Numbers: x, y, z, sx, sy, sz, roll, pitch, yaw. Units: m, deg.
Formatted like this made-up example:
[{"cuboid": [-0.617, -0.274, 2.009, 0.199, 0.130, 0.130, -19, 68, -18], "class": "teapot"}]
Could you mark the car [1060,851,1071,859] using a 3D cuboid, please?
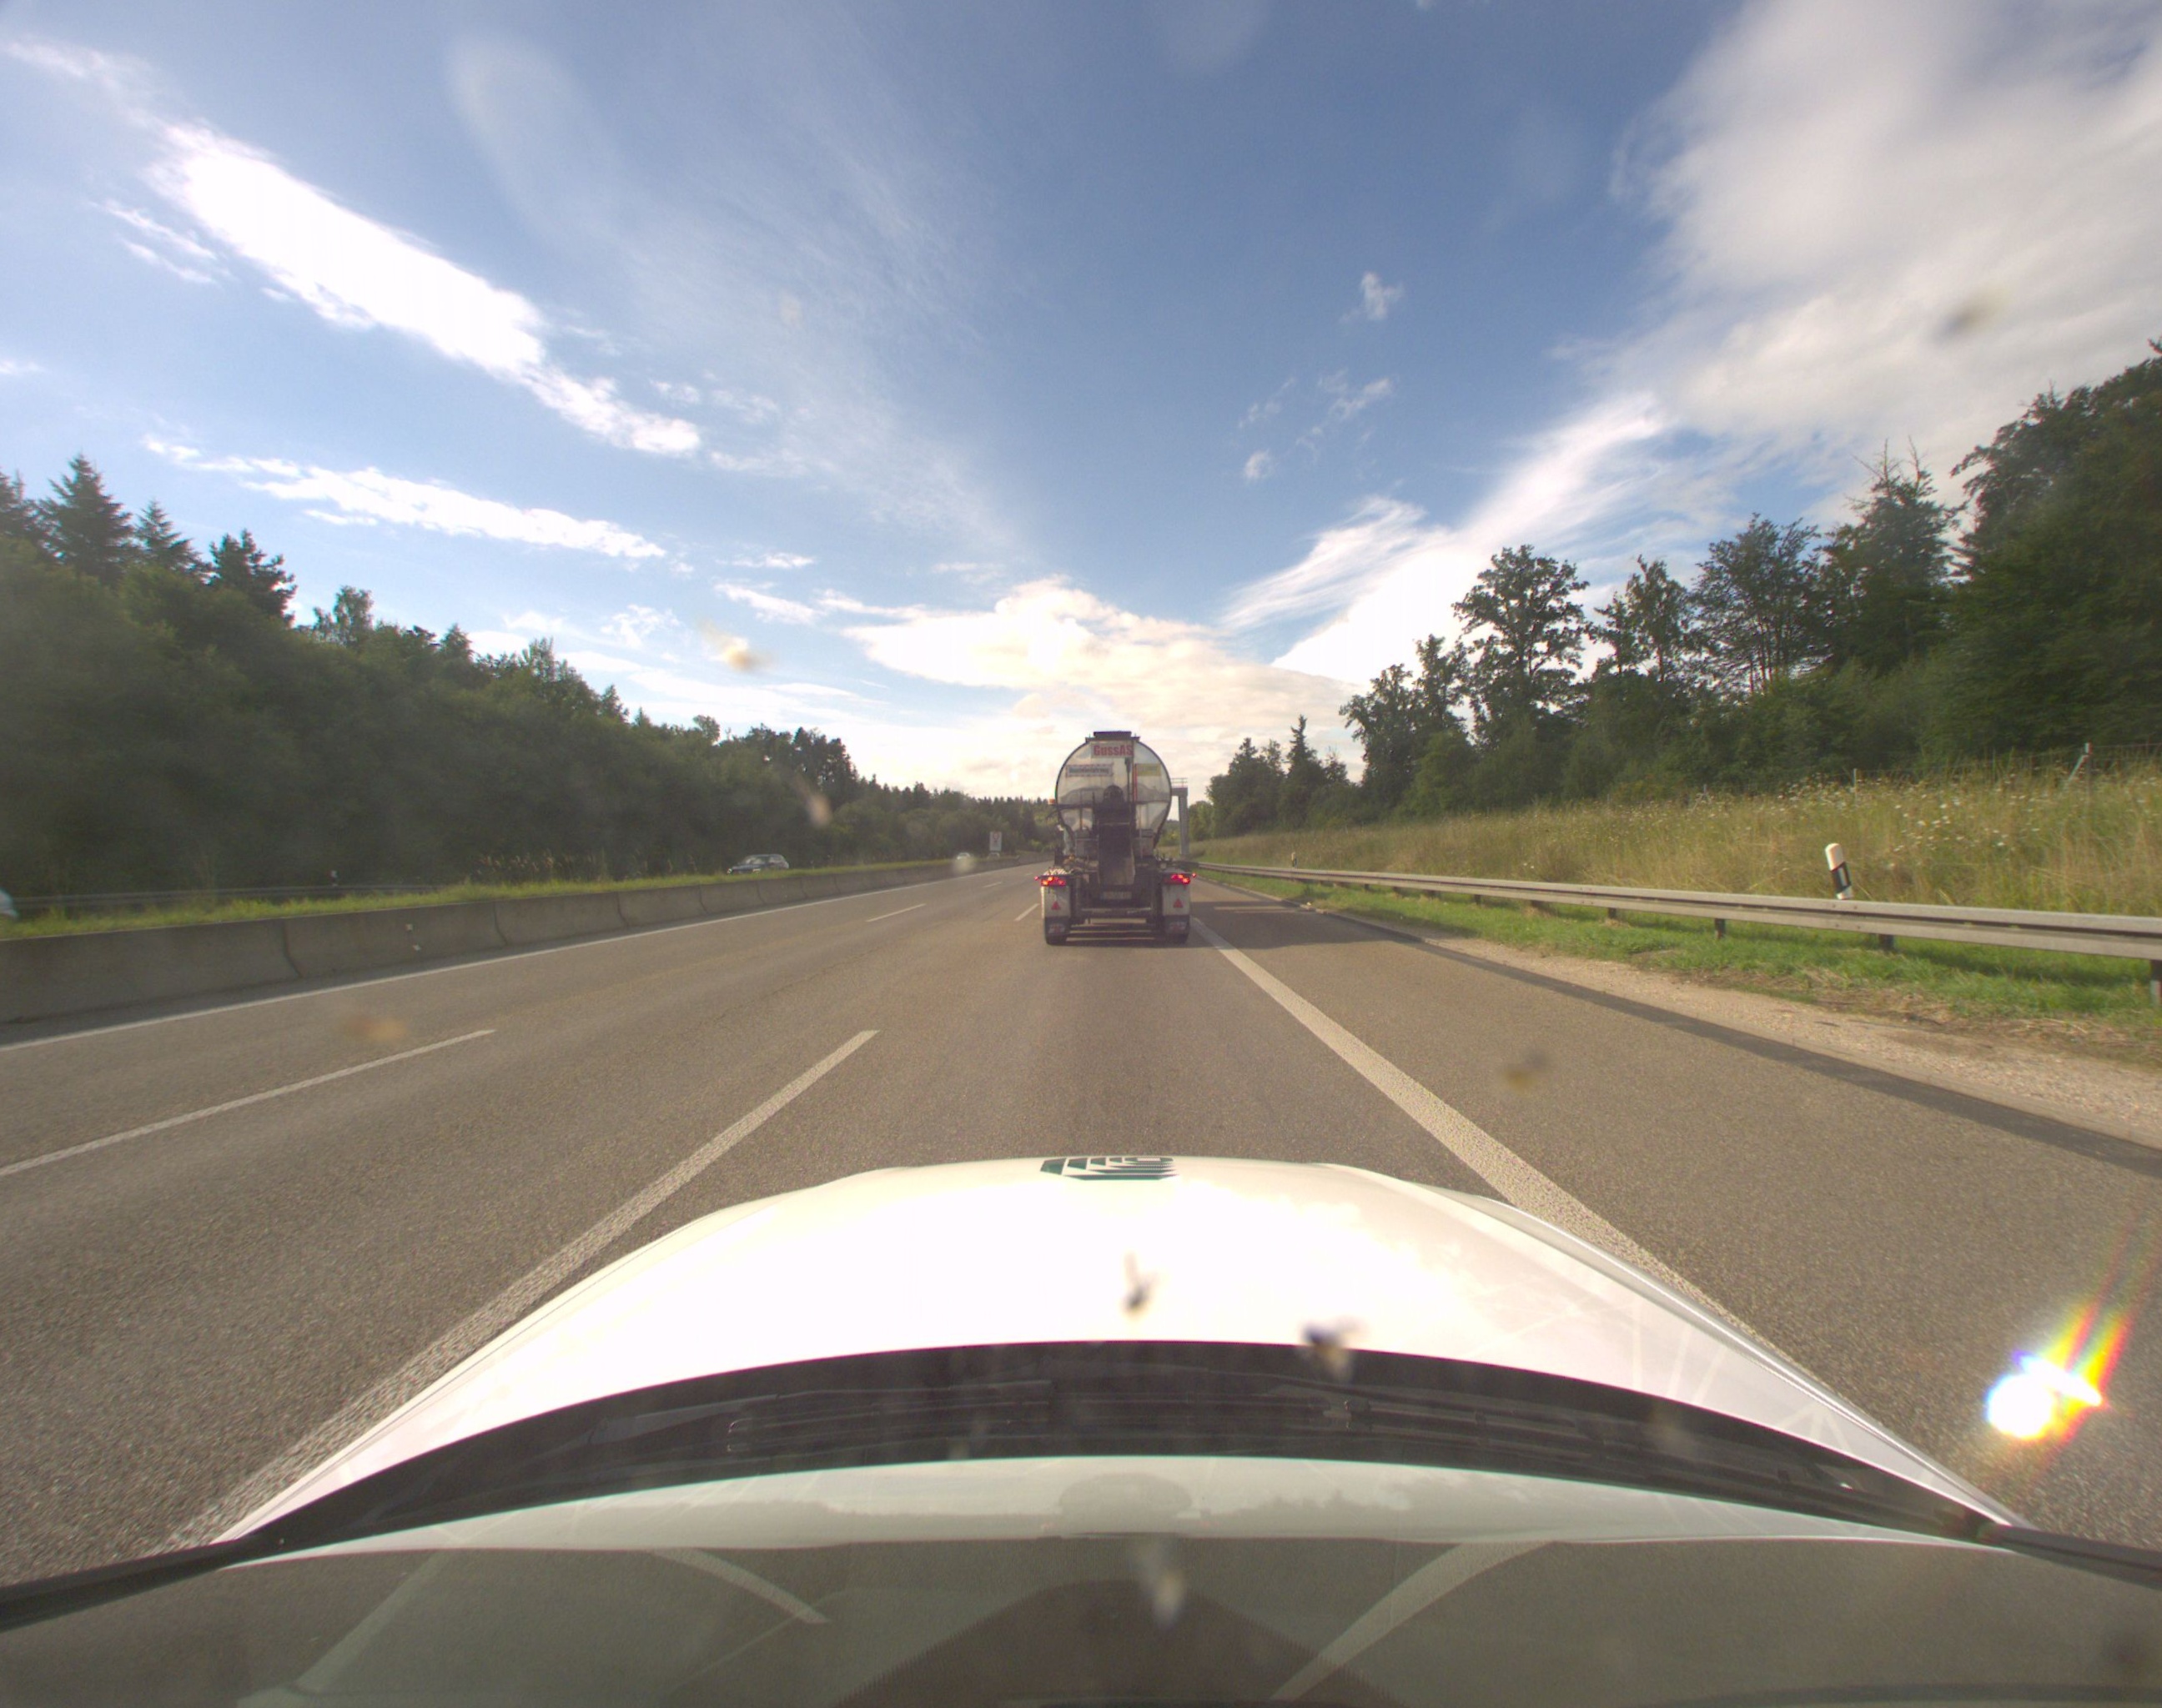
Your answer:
[{"cuboid": [-2.913, 0.146, 156.575, 1.849, 1.431, 4.843, -1, 0, 2], "class": "car"}]

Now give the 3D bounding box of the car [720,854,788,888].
[{"cuboid": [-17.510, 0.859, 43.780, 1.899, 1.717, 4.002, -1, 0, 2], "class": "car"}]

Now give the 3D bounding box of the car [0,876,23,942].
[{"cuboid": [-22.356, 1.110, 14.705, 1.809, 1.290, 3.545, -1, 0, 2], "class": "car"}]

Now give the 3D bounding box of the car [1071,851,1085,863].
[{"cuboid": [-0.365, 0.400, 112.035, 1.829, 1.517, 4.335, -1, 0, 2], "class": "car"}]

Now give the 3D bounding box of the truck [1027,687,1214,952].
[{"cuboid": [0.813, -0.565, 18.538, 2.901, 4.157, 11.274, -1, 0, 2], "class": "truck"}]

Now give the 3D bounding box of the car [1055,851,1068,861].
[{"cuboid": [-3.159, 0.284, 132.873, 1.829, 1.517, 4.335, -1, 0, 2], "class": "car"}]
